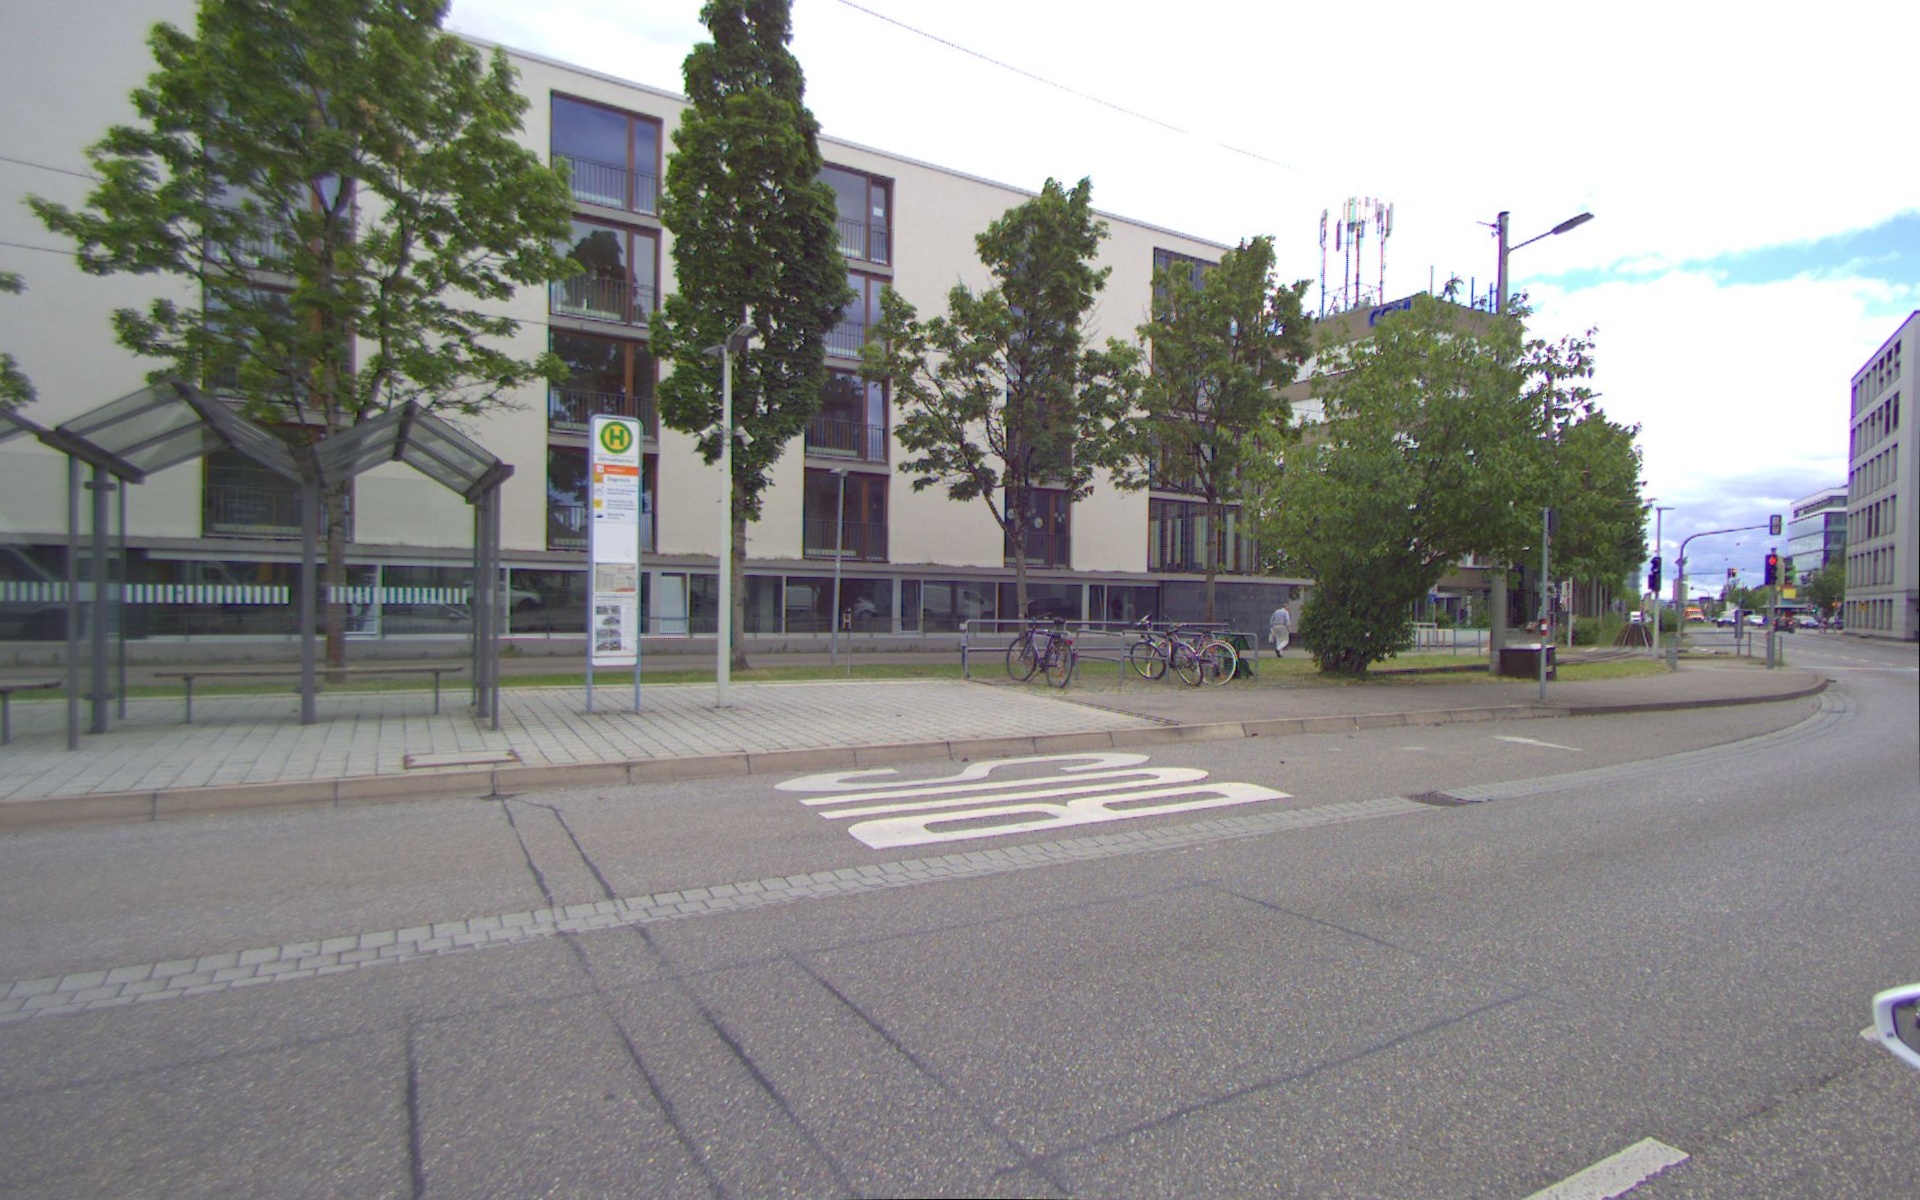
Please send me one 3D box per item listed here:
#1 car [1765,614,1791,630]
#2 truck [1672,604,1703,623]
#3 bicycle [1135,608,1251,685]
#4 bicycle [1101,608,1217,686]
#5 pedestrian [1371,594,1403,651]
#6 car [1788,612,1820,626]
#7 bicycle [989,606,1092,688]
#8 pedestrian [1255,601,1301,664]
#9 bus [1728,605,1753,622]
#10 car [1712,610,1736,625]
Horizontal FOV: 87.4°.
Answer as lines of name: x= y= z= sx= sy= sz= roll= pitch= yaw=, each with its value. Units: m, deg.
car: x=83.237 y=2.244 z=102.179 sx=1.878 sy=1.506 sz=3.979 roll=1 pitch=0 yaw=41
truck: x=116.319 y=2.103 z=160.693 sx=2.532 sy=2.863 sz=6.986 roll=1 pitch=0 yaw=23
bicycle: x=3.821 y=0.735 z=16.660 sx=0.624 sy=1.121 sz=2.089 roll=1 pitch=1 yaw=-29
bicycle: x=3.185 y=0.723 z=16.312 sx=0.624 sy=1.121 sz=2.089 roll=1 pitch=1 yaw=-29
pedestrian: x=15.758 y=0.814 z=37.075 sx=0.758 sy=2.041 sz=0.886 roll=5 pitch=3 yaw=41
car: x=104.883 y=2.385 z=124.858 sx=1.822 sy=1.650 sz=3.998 roll=1 pitch=0 yaw=22
bicycle: x=1.200 y=0.682 z=15.373 sx=0.580 sy=1.121 sz=1.920 roll=1 pitch=1 yaw=-29
pedestrian: x=9.434 y=0.955 z=29.778 sx=0.896 sy=1.788 sz=0.826 roll=2 pitch=3 yaw=-30
bus: x=149.264 y=2.609 z=192.146 sx=3.040 sy=2.968 sz=10.311 roll=3 pitch=2 yaw=34
car: x=89.805 y=2.037 z=118.047 sx=1.832 sy=1.718 sz=3.977 roll=1 pitch=0 yaw=43
